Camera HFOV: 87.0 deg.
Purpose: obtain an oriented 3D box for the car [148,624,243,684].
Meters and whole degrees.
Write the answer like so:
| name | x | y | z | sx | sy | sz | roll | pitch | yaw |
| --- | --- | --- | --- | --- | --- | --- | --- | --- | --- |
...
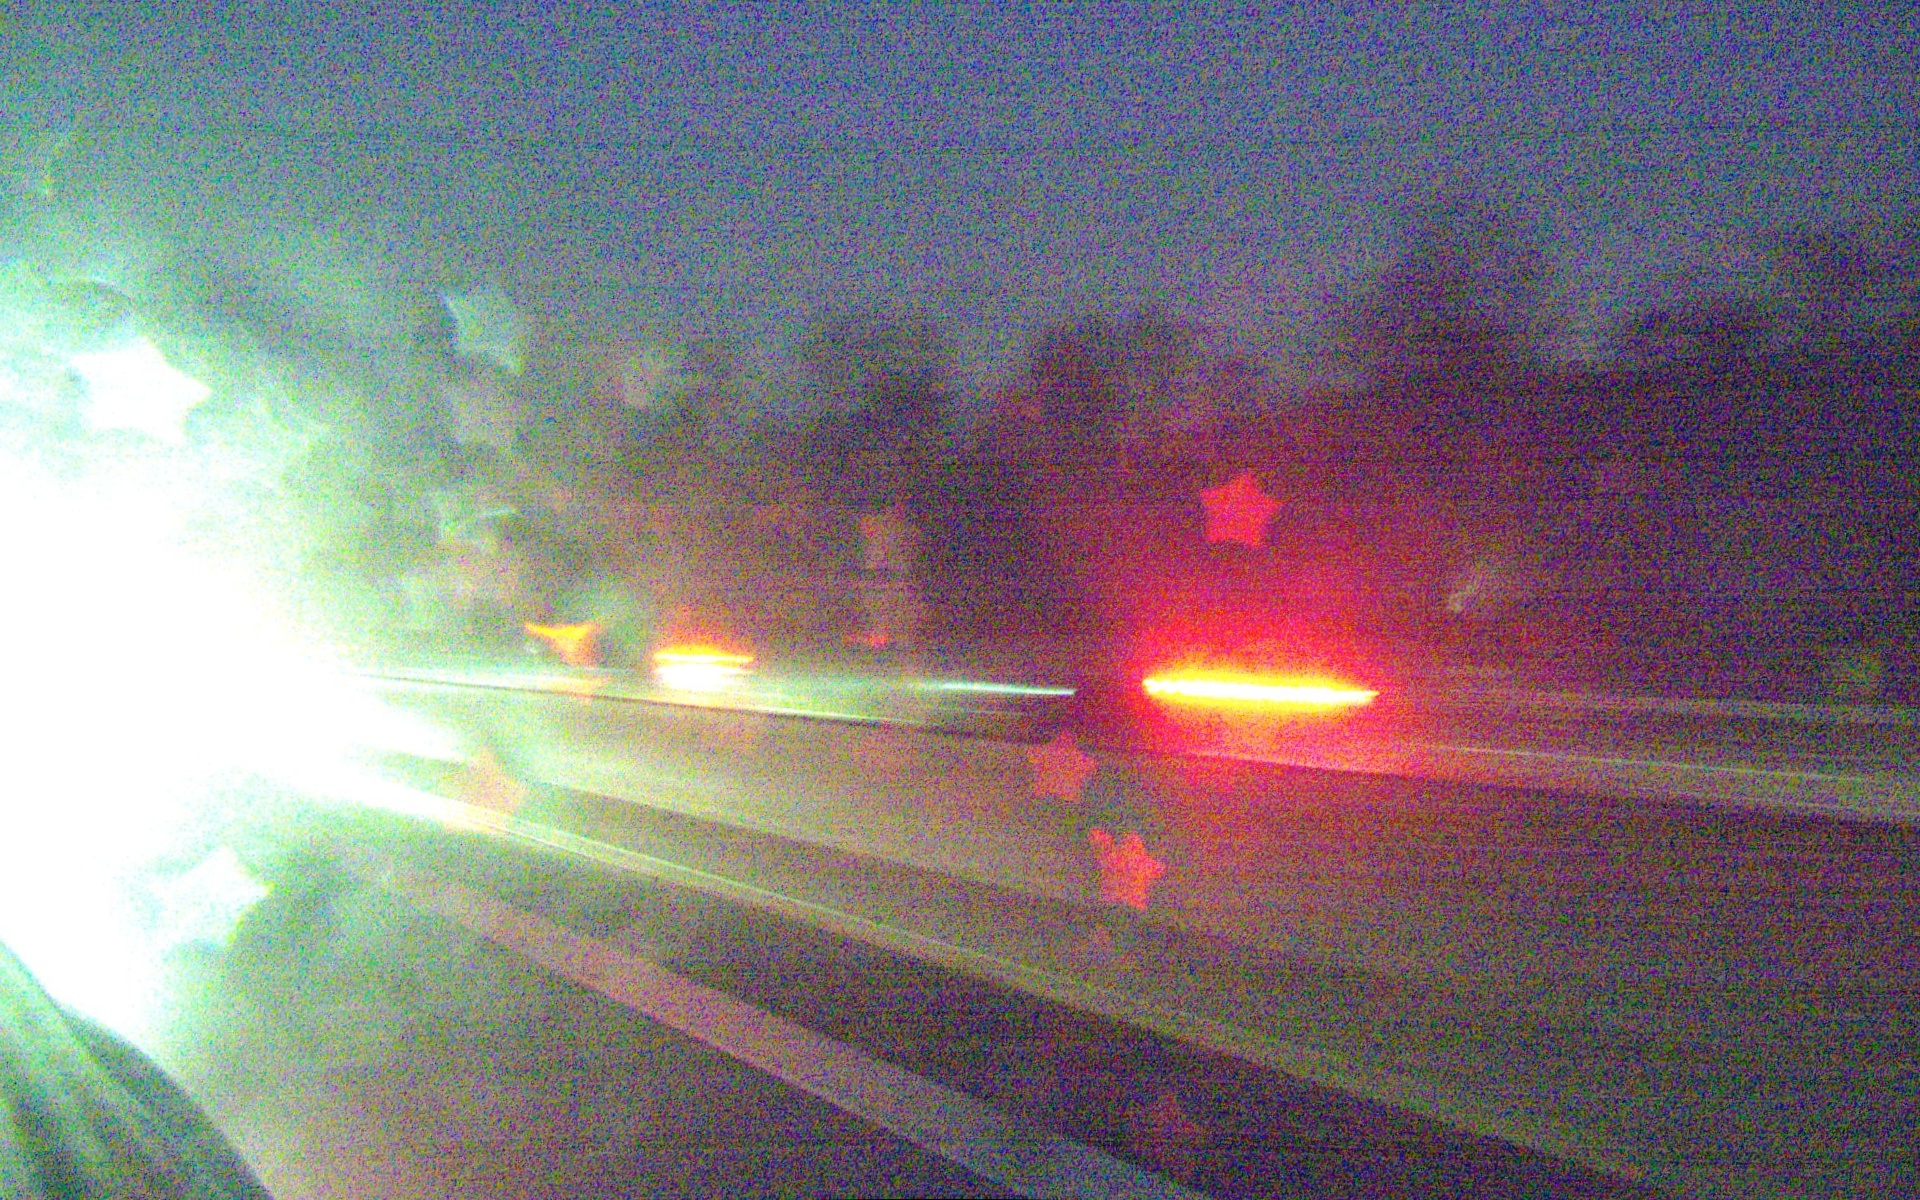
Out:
| name | x | y | z | sx | sy | sz | roll | pitch | yaw |
| --- | --- | --- | --- | --- | --- | --- | --- | --- | --- |
| car | -28.546 | 2.019 | 37.736 | 4.292 | 2.029 | 1.973 | -3 | -1 | 41 |

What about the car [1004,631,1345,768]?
| name | x | y | z | sx | sy | sz | roll | pitch | yaw |
| --- | --- | --- | --- | --- | --- | --- | --- | --- | --- |
| car | 3.273 | 1.424 | 16.040 | 4.954 | 1.787 | 1.974 | -1 | -2 | 39 |

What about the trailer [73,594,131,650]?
| name | x | y | z | sx | sy | sz | roll | pitch | yaw |
| --- | --- | --- | --- | --- | --- | --- | --- | --- | --- |
| trailer | -78.999 | 2.066 | 93.092 | 10.162 | 4.860 | 2.381 | -2 | -1 | 40 |

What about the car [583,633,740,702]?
| name | x | y | z | sx | sy | sz | roll | pitch | yaw |
| --- | --- | --- | --- | --- | --- | --- | --- | --- | --- |
| car | -8.822 | 1.902 | 29.676 | 4.954 | 1.787 | 1.974 | -1 | -2 | 39 |
